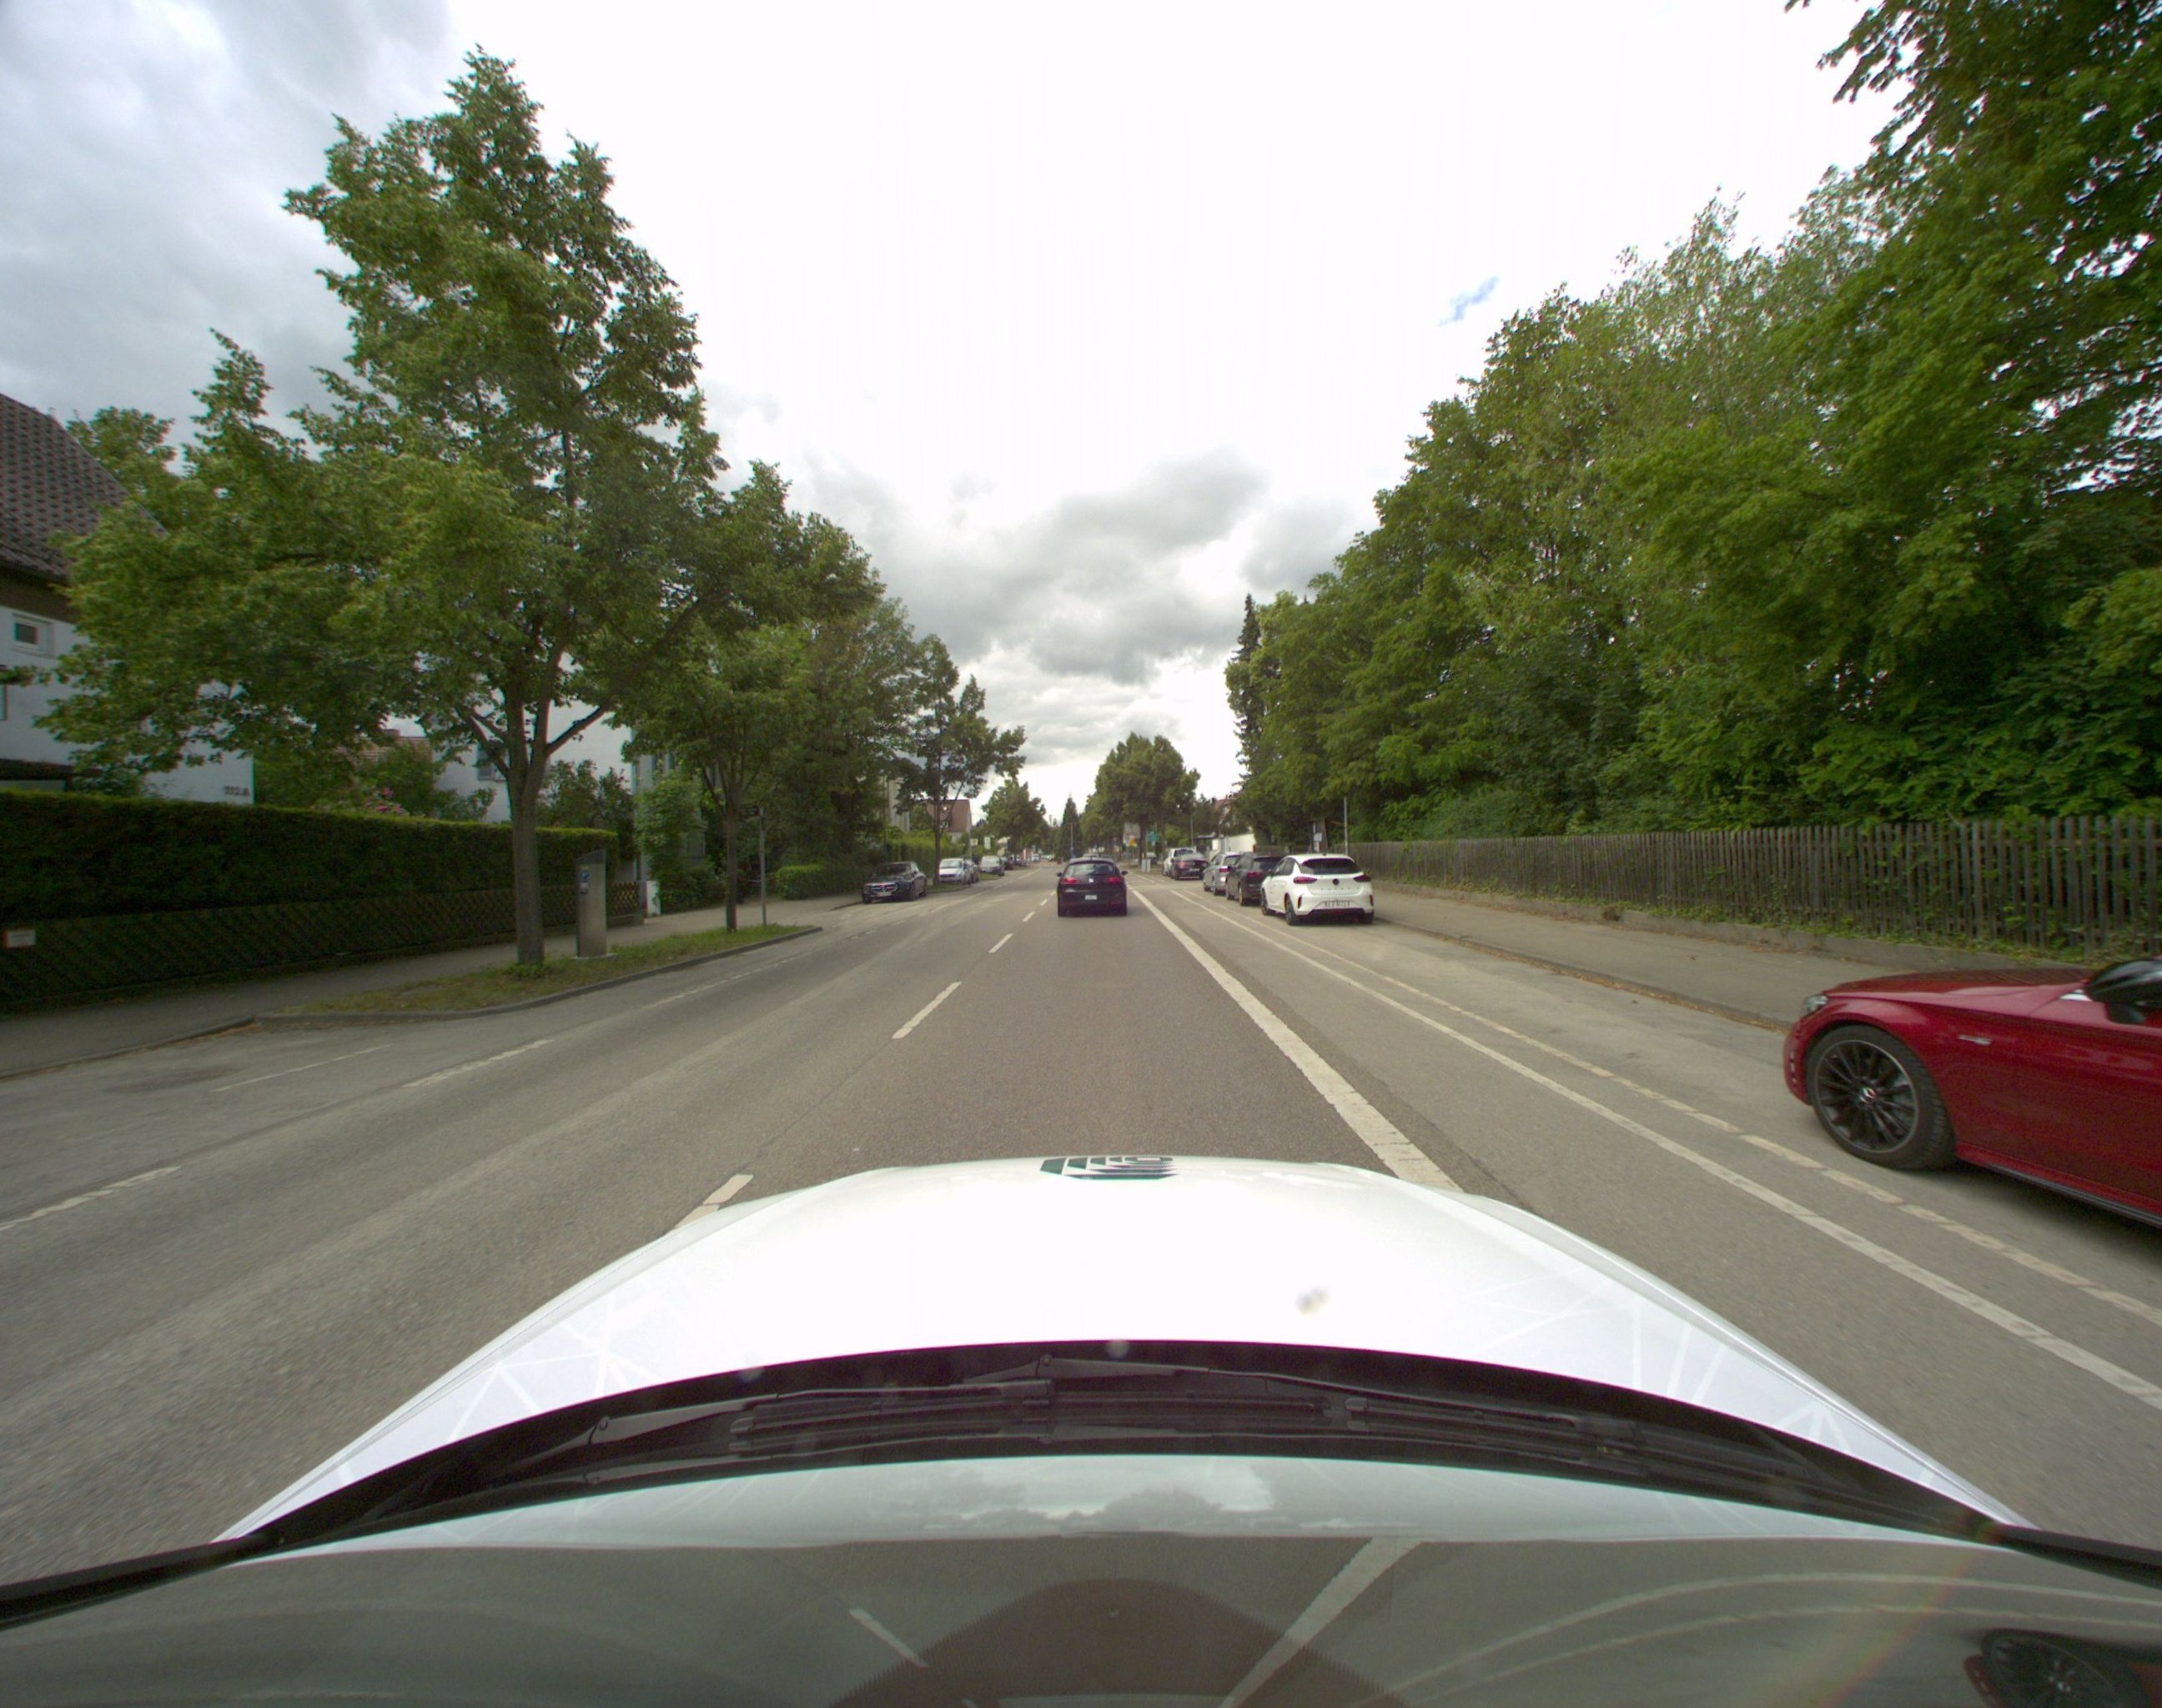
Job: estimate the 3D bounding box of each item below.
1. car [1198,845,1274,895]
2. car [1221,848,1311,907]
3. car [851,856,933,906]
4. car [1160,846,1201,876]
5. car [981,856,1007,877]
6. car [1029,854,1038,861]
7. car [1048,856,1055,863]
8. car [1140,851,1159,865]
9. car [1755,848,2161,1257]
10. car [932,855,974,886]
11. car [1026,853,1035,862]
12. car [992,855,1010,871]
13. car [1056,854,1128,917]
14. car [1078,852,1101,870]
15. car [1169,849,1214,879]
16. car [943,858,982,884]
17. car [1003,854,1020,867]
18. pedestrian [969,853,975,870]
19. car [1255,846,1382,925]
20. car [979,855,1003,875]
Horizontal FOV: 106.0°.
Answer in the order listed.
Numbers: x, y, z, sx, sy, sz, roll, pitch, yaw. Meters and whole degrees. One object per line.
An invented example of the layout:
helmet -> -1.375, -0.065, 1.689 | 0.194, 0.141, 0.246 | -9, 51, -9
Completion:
car -> 5.416, 0.542, 28.981 | 1.855, 1.611, 4.687 | -1, 0, 1
car -> 5.231, 0.589, 23.566 | 1.695, 1.510, 4.539 | -1, 0, 2
car -> -7.291, 0.982, 31.981 | 2.090, 1.647, 5.035 | -3, 0, -2
car -> 5.902, 0.396, 48.626 | 1.895, 1.642, 4.115 | -2, 0, 0
car -> -6.817, 0.931, 64.332 | 1.672, 1.552, 4.269 | -2, 0, -2
car -> -10.873, 0.805, 187.258 | 1.793, 1.601, 3.998 | -2, 0, -1
car -> -7.481, 1.279, 203.976 | 1.563, 1.634, 3.622 | -2, 0, 0
car -> 7.185, 0.439, 85.525 | 1.606, 1.377, 4.386 | -2, -1, 0
car -> 4.669, 0.706, 2.385 | 1.852, 1.413, 4.446 | 0, 1, 2
car -> -7.237, 0.928, 46.434 | 1.713, 1.613, 3.909 | -2, 0, -1
car -> -12.661, 0.889, 205.118 | 2.025, 1.970, 3.995 | -2, 0, -3
car -> -9.094, 1.035, 93.209 | 1.720, 1.725, 4.561 | -2, 0, -2
car -> 0.350, 0.758, 21.425 | 1.725, 1.486, 4.002 | 0, 0, 2
car -> 0.816, 0.627, 74.495 | 1.987, 1.613, 4.000 | -2, 0, 1
car -> 5.726, 0.501, 42.548 | 1.856, 1.417, 4.605 | -2, 0, 2
car -> -7.510, 1.058, 52.004 | 1.989, 1.485, 4.885 | -3, 0, -3
car -> -9.277, 0.822, 109.259 | 1.854, 1.653, 4.294 | -2, 0, 0
pedestrian -> -11.592, 0.757, 86.865 | 0.502, 1.806, 0.671 | -2, 0, -1
car -> 5.103, 0.636, 18.045 | 1.761, 1.510, 4.033 | -2, 0, 2
car -> -7.876, 0.920, 71.685 | 1.816, 1.634, 4.581 | -2, 0, -3
